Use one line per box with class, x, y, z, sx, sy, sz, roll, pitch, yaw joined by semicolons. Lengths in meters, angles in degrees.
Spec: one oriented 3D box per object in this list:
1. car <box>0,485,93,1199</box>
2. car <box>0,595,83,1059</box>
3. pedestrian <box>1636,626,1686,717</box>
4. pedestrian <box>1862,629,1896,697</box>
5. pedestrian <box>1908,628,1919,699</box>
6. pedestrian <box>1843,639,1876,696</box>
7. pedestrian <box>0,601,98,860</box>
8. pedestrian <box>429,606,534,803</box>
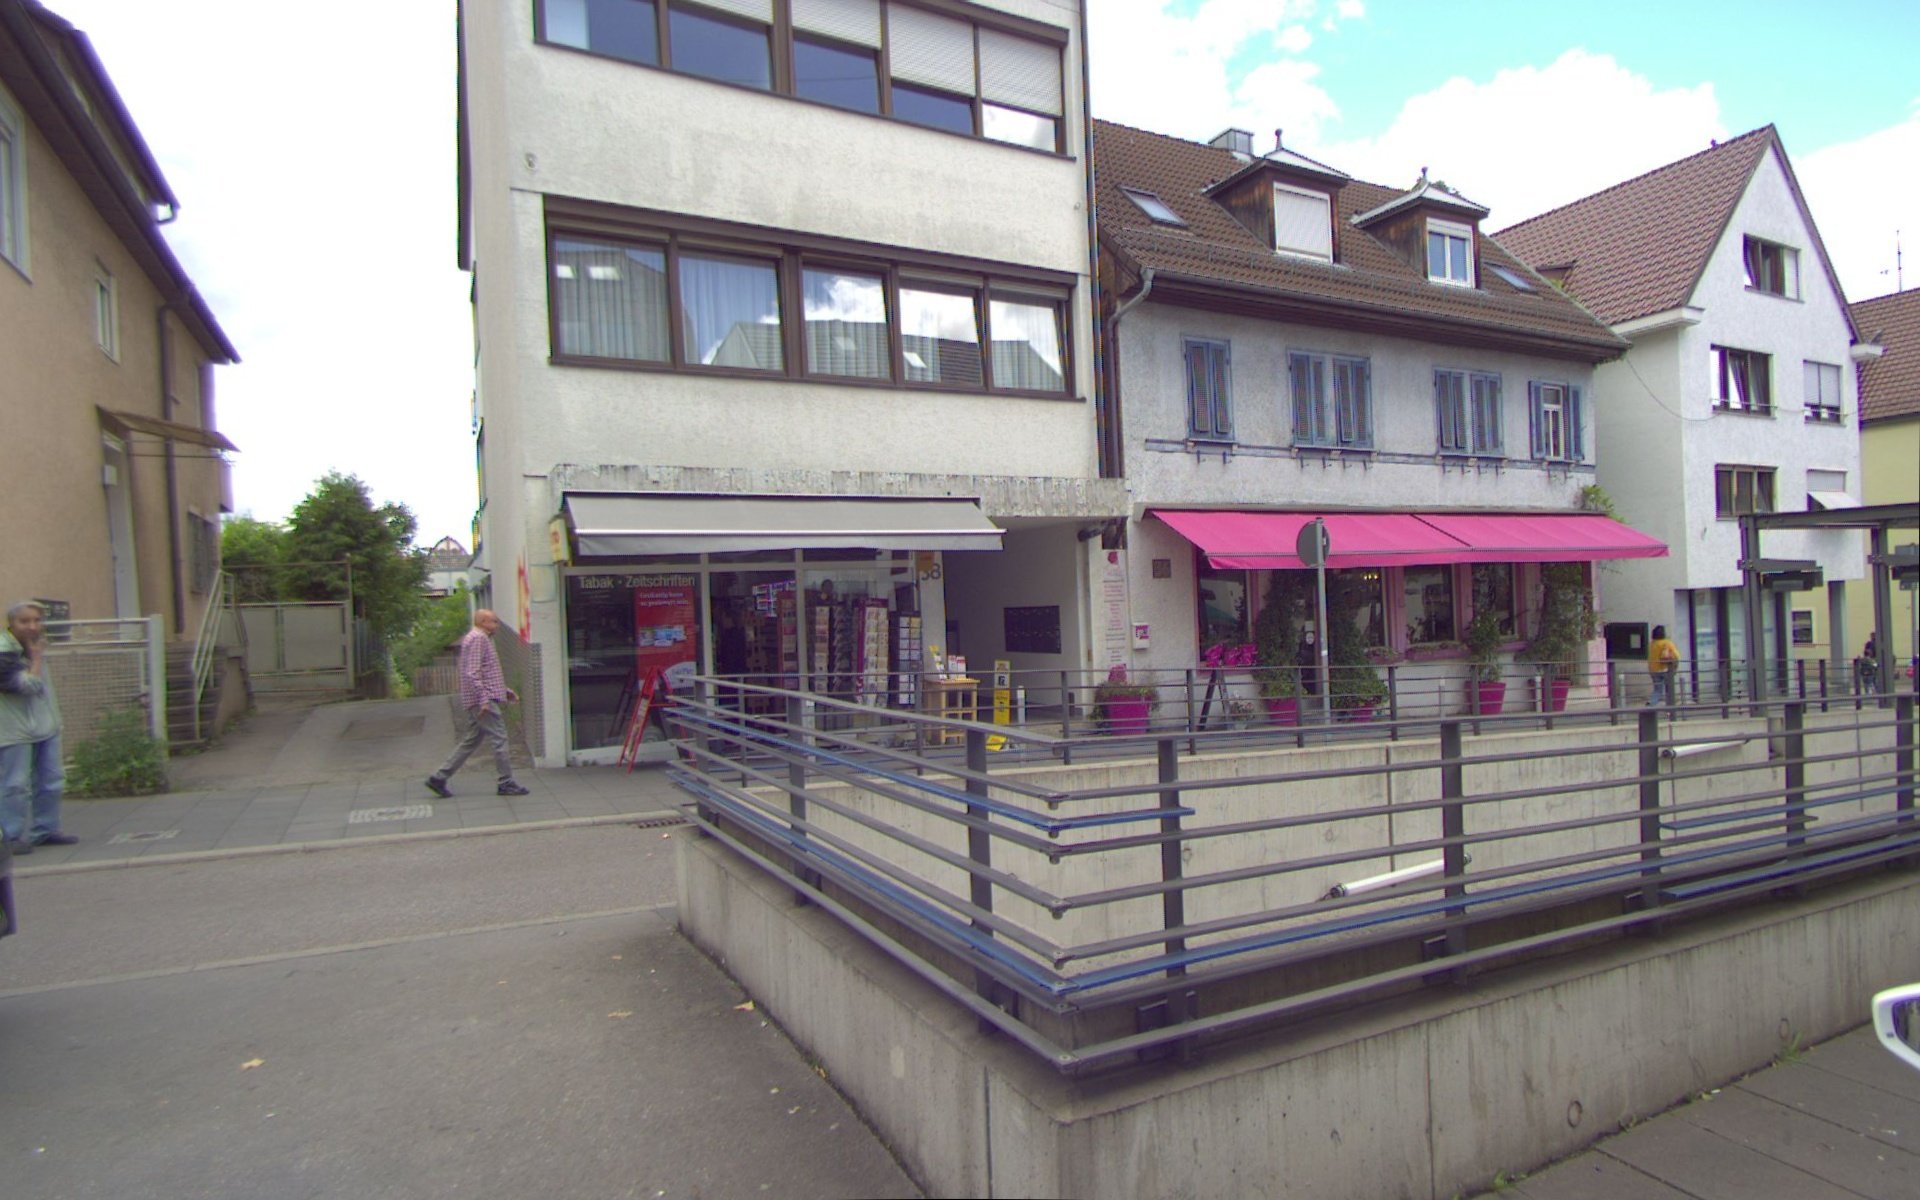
car;-3.283;0.596;0.294;4.265;1.661;1.946;1;0;-31
car;-4.777;0.708;2.320;3.840;1.494;1.731;1;-5;-31
pedestrian;13.617;1.370;19.517;0.570;1.711;0.575;1;0;-30
pedestrian;23.789;1.613;26.000;0.559;1.711;0.606;1;0;-44
pedestrian;23.813;1.564;24.637;0.671;1.711;0.622;1;0;-30
pedestrian;23.100;1.726;25.785;0.527;1.440;0.455;1;0;-27
pedestrian;-6.608;0.874;6.995;0.653;1.711;0.646;-1;-1;10
pedestrian;-4.376;0.926;9.211;0.816;1.711;0.637;1;-2;-25
